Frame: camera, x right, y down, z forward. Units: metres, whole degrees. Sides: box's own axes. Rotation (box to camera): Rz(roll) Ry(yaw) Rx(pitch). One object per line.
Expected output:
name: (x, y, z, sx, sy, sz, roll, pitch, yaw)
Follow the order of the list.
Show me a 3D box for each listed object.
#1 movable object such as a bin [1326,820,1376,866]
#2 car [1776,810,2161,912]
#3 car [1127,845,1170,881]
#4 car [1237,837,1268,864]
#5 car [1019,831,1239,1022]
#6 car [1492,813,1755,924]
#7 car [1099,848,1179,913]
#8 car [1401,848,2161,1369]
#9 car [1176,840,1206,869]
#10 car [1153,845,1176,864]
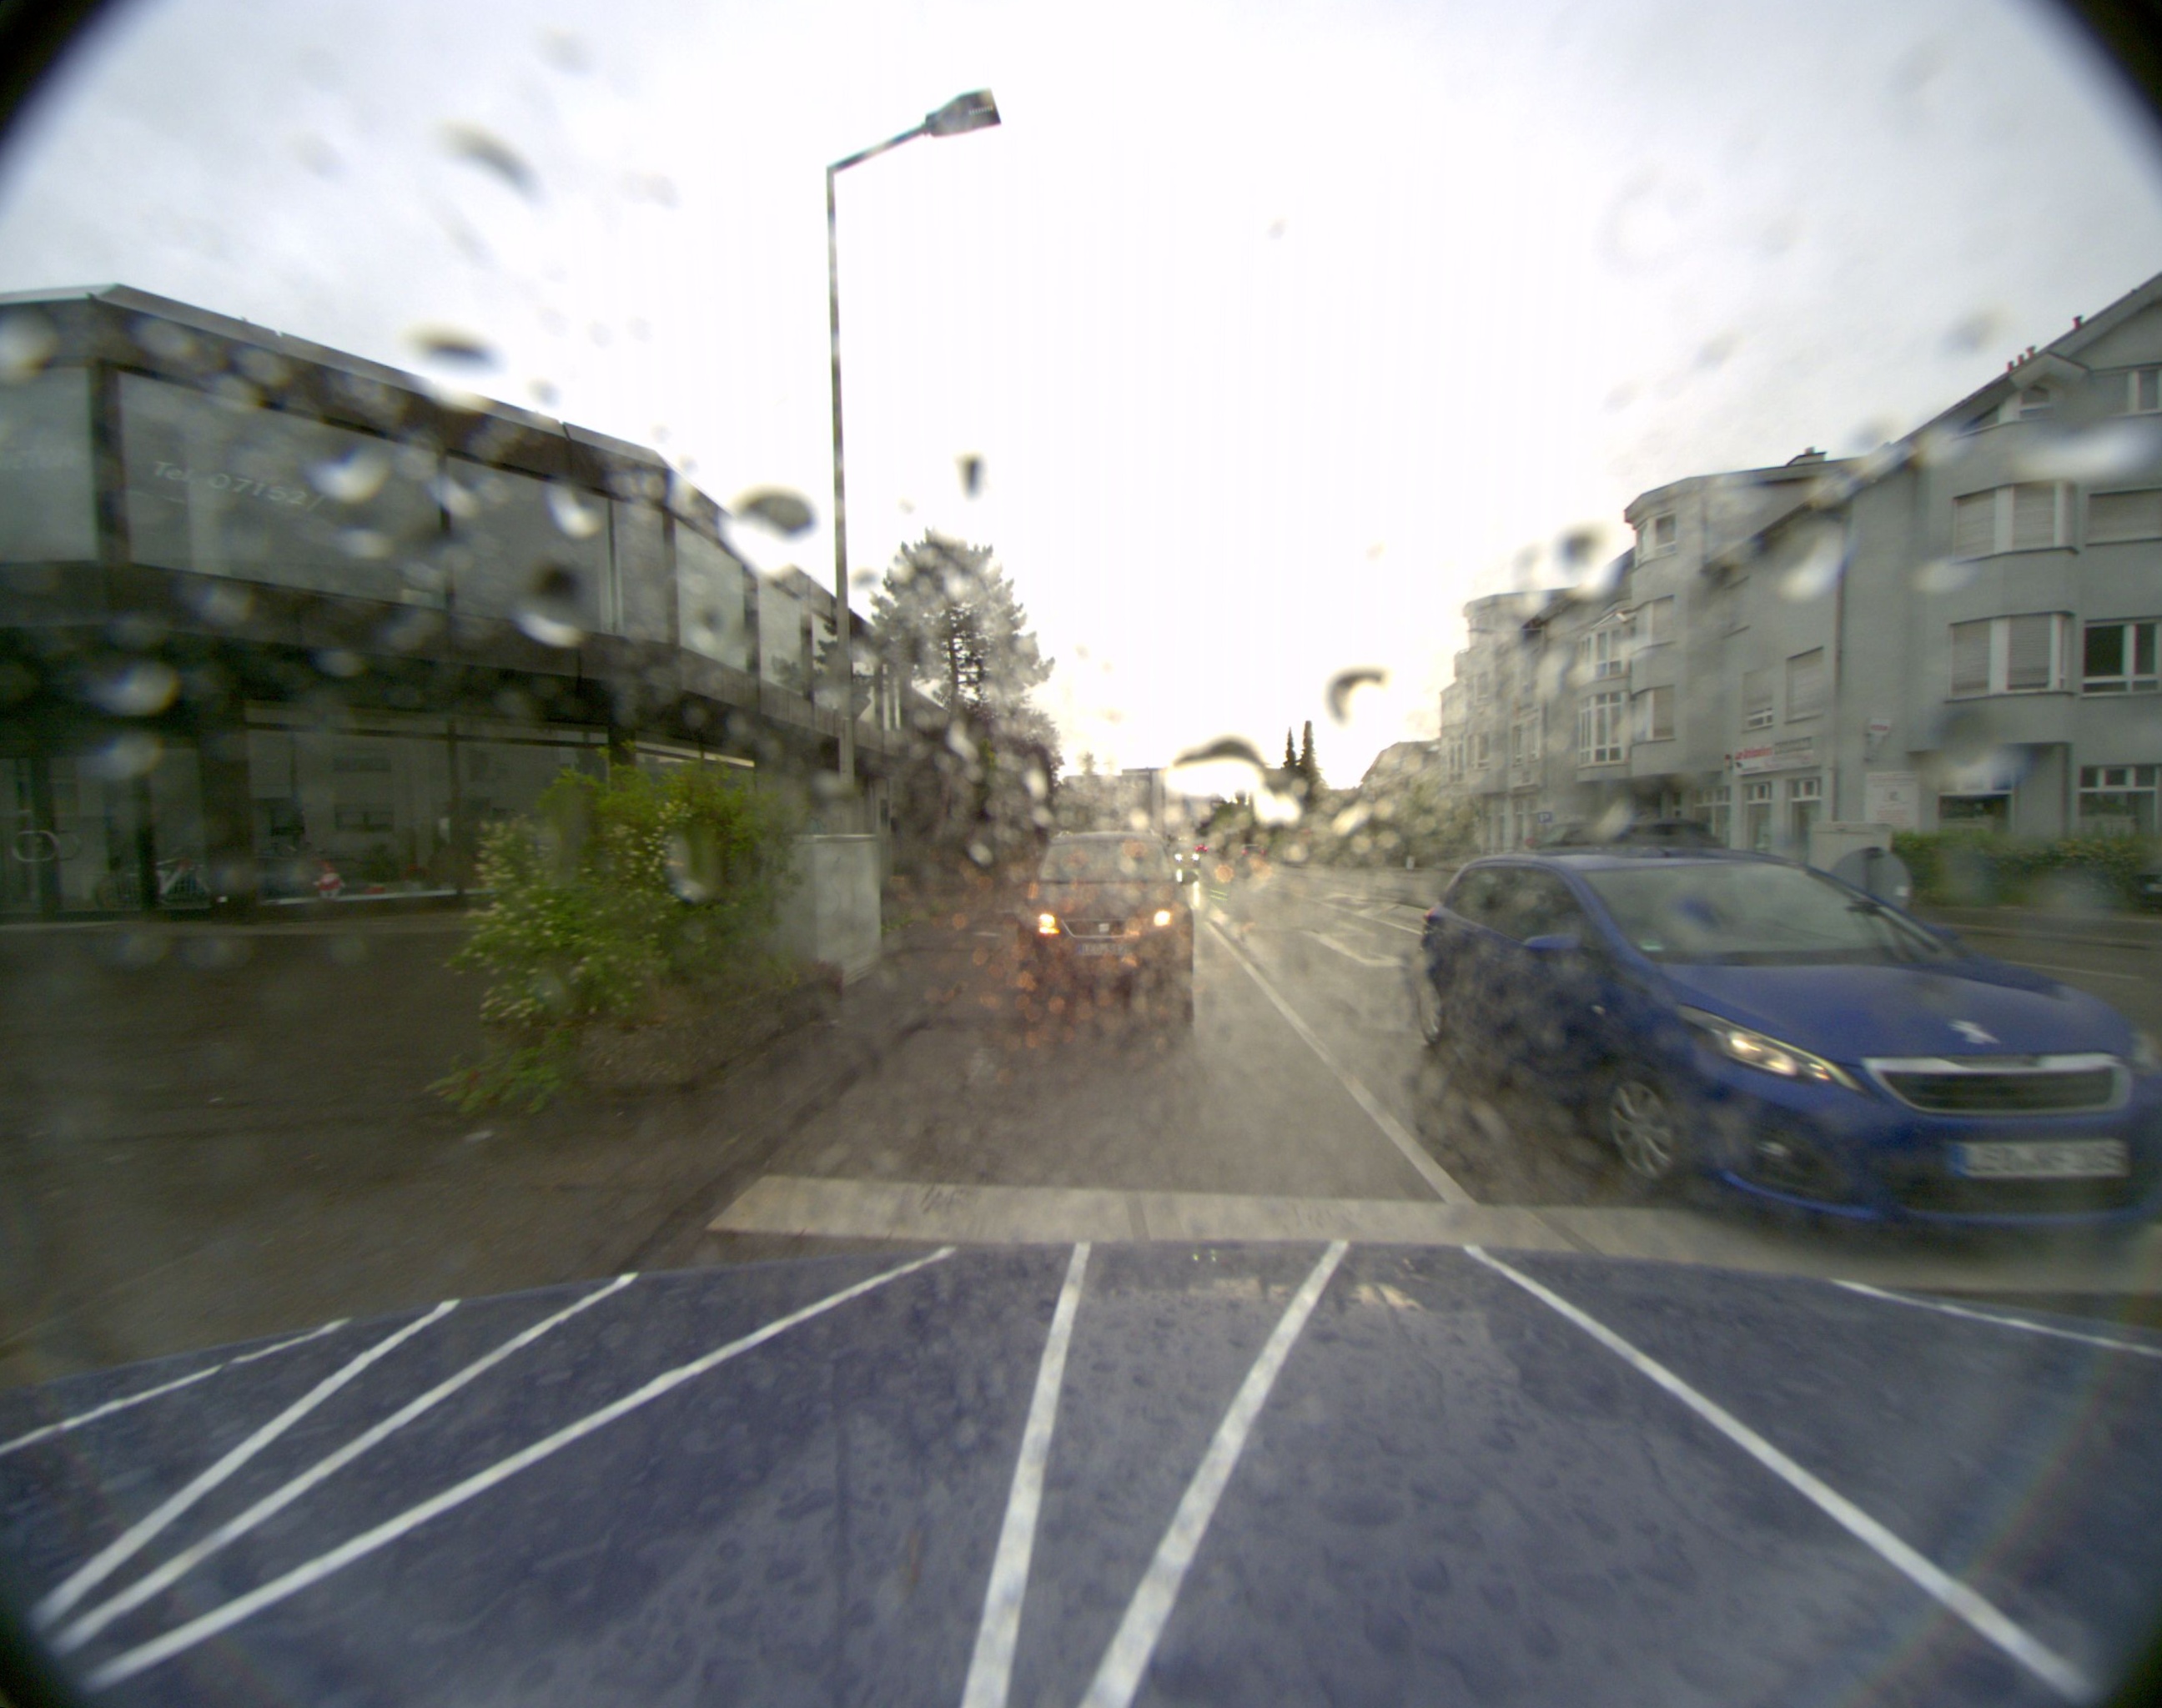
movable object such as a bin: (17.491, -0.685, 49.281, 2.921, 2.825, 2.199, -1, 1, 20)
car: (17.060, 0.119, 14.423, 5.473, 1.674, 2.149, -2, 1, 7)
car: (3.582, 0.439, 40.878, 1.998, 1.849, 3.999, 0, 1, 1)
car: (13.719, -0.303, 61.008, 1.997, 2.002, 4.001, -2, 1, 7)
car: (0.542, 0.633, 9.340, 1.998, 1.739, 4.648, -1, 1, 2)
car: (10.469, 0.215, 15.244, 2.102, 1.822, 4.734, -2, 1, 4)
car: (1.438, 0.605, 20.067, 1.829, 1.431, 4.344, -2, 1, 2)
car: (3.146, 0.779, 3.979, 1.651, 1.547, 3.351, -2, 1, 3)
car: (7.863, 0.015, 54.552, 1.997, 2.002, 4.002, -2, 1, 8)
car: (8.405, 0.052, 76.906, 1.998, 1.849, 3.999, 0, 1, 1)
